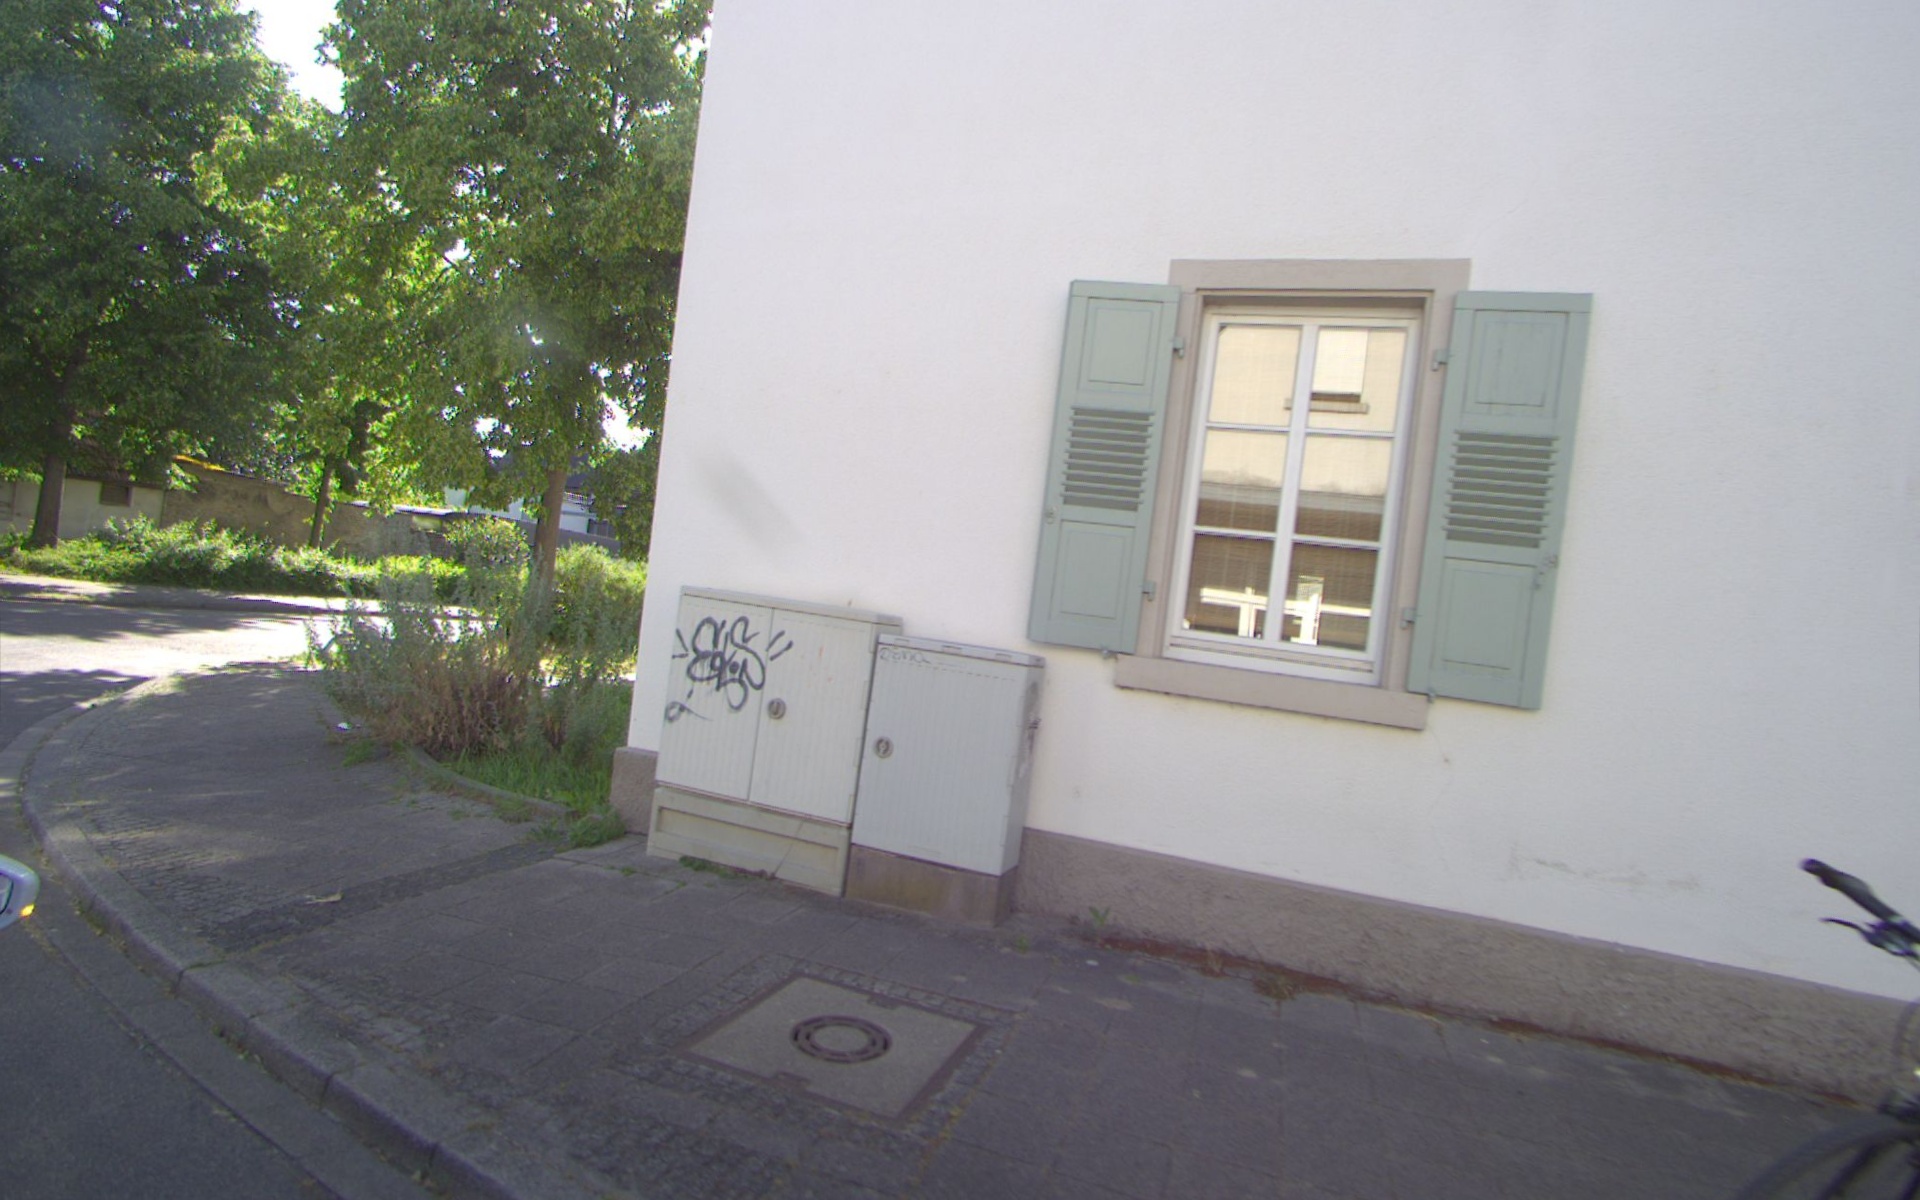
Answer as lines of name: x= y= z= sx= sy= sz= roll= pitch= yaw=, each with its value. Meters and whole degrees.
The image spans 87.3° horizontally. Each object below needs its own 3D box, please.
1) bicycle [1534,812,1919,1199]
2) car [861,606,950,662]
bicycle: x=2.208 y=1.124 z=1.889 sx=1.854 sy=1.093 sz=0.436 roll=6 pitch=1 yaw=13
car: x=-1.918 y=1.269 z=36.899 sx=1.878 sy=1.696 sz=4.002 roll=7 pitch=-1 yaw=16
